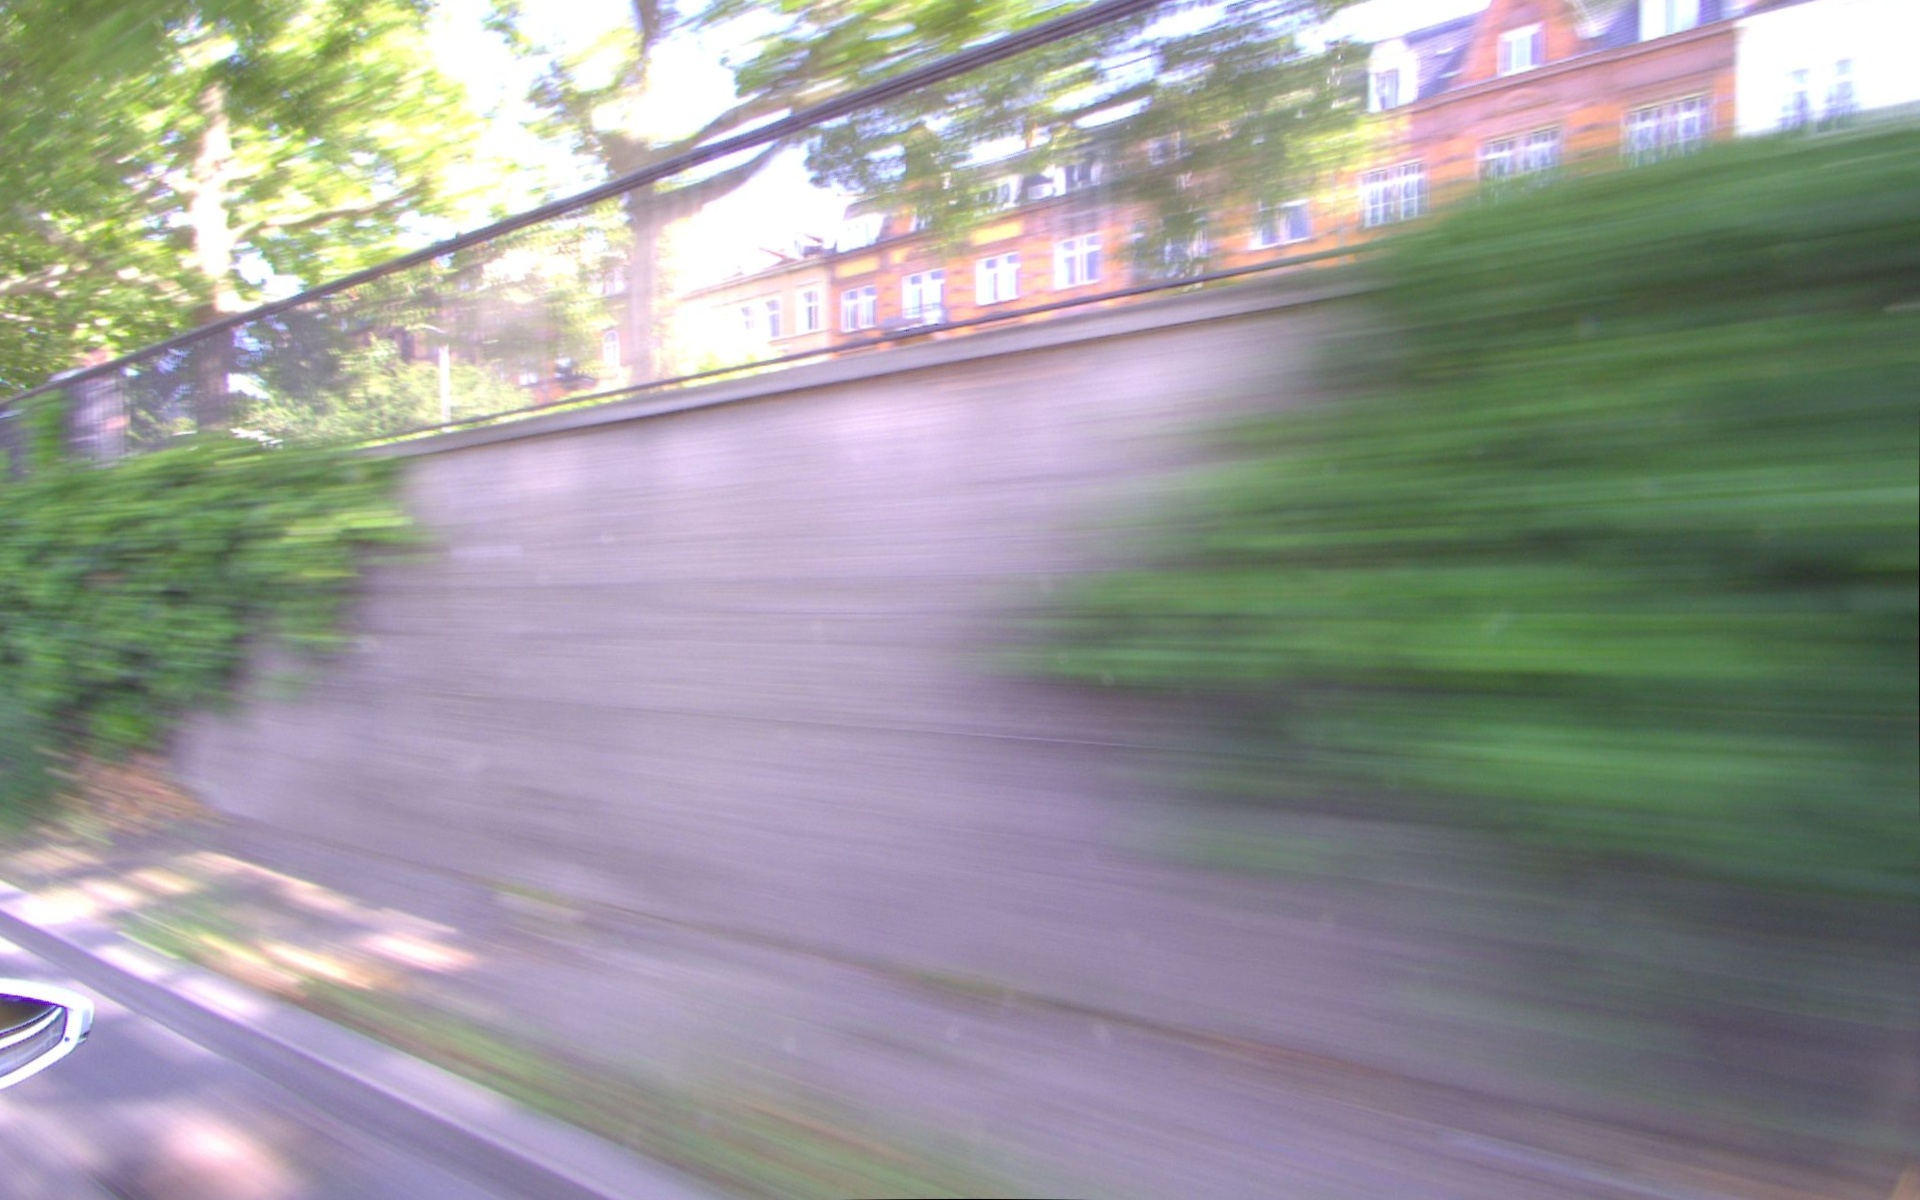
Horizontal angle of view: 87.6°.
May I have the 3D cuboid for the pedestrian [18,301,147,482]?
[{"bbox_3d":[-8.863,-2.056,10.121,0.799,1.613,0.735,1,2,31],"label":"pedestrian"}]
